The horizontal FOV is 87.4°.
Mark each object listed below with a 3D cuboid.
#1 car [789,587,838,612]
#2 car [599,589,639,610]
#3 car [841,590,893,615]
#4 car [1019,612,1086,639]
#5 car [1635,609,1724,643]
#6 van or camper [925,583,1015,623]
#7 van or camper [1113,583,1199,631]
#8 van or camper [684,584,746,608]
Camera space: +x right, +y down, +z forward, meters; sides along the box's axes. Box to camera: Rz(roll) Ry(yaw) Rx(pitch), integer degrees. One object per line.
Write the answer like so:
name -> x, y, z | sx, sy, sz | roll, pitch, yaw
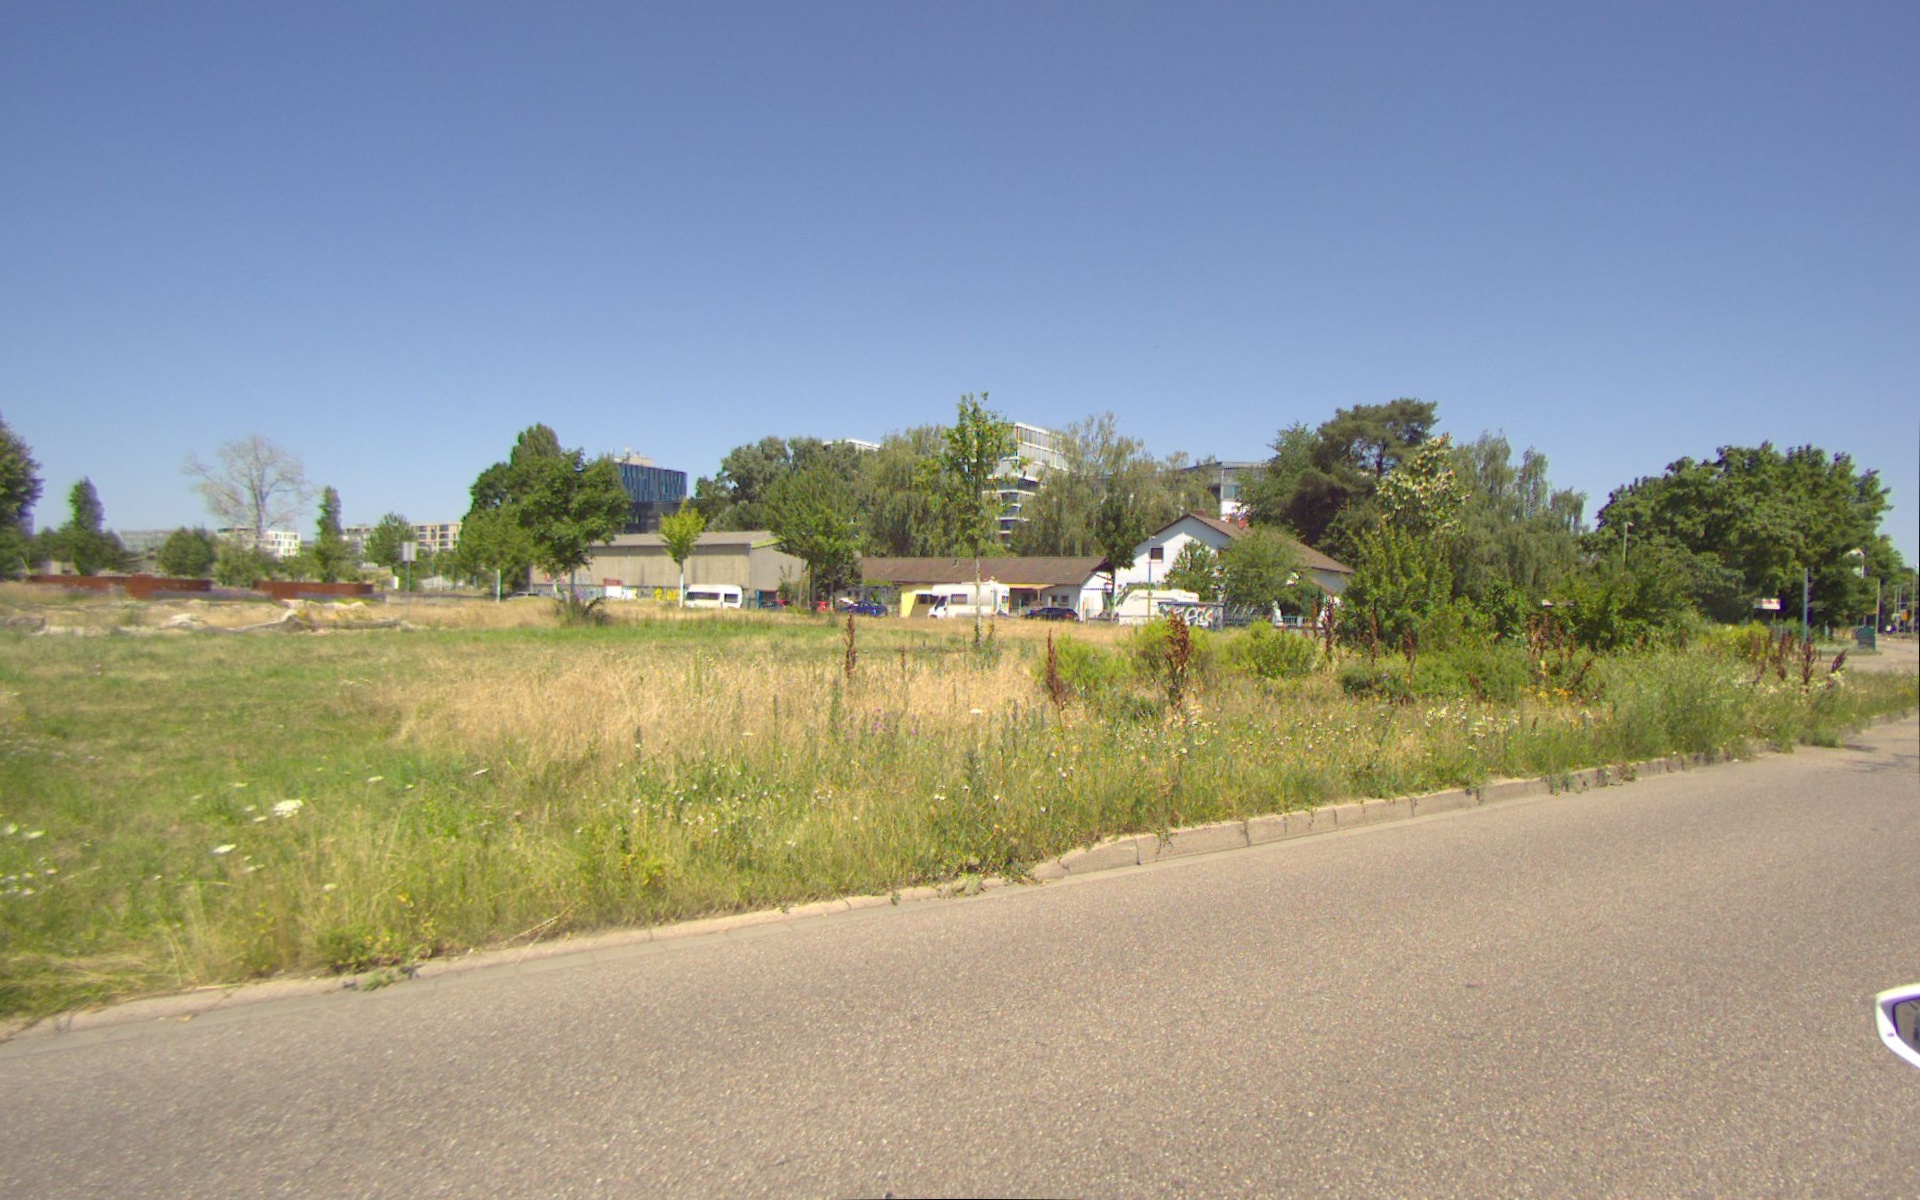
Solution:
car -> -11.395, -0.039, 78.085 | 3.520, 1.795, 1.752 | 1, 0, 35
car -> -31.725, -0.062, 93.541 | 3.520, 1.795, 1.752 | 1, 0, 35
car -> -6.941, 0.201, 74.890 | 3.520, 1.795, 1.752 | 1, 0, 35
car -> 6.046, 1.664, 65.833 | 3.939, 1.572, 1.906 | 1, 0, 40
car -> 44.975, 1.609, 62.851 | 1.771, 2.003, 4.263 | 1, 0, -44
van or camper -> 0.630, 0.186, 69.563 | 5.873, 2.628, 2.463 | 1, 0, 37
van or camper -> 11.903, 0.383, 61.041 | 4.395, 2.626, 2.482 | 4, 2, 38
van or camper -> -20.751, -0.342, 85.064 | 4.974, 1.905, 2.351 | 1, 0, 34
